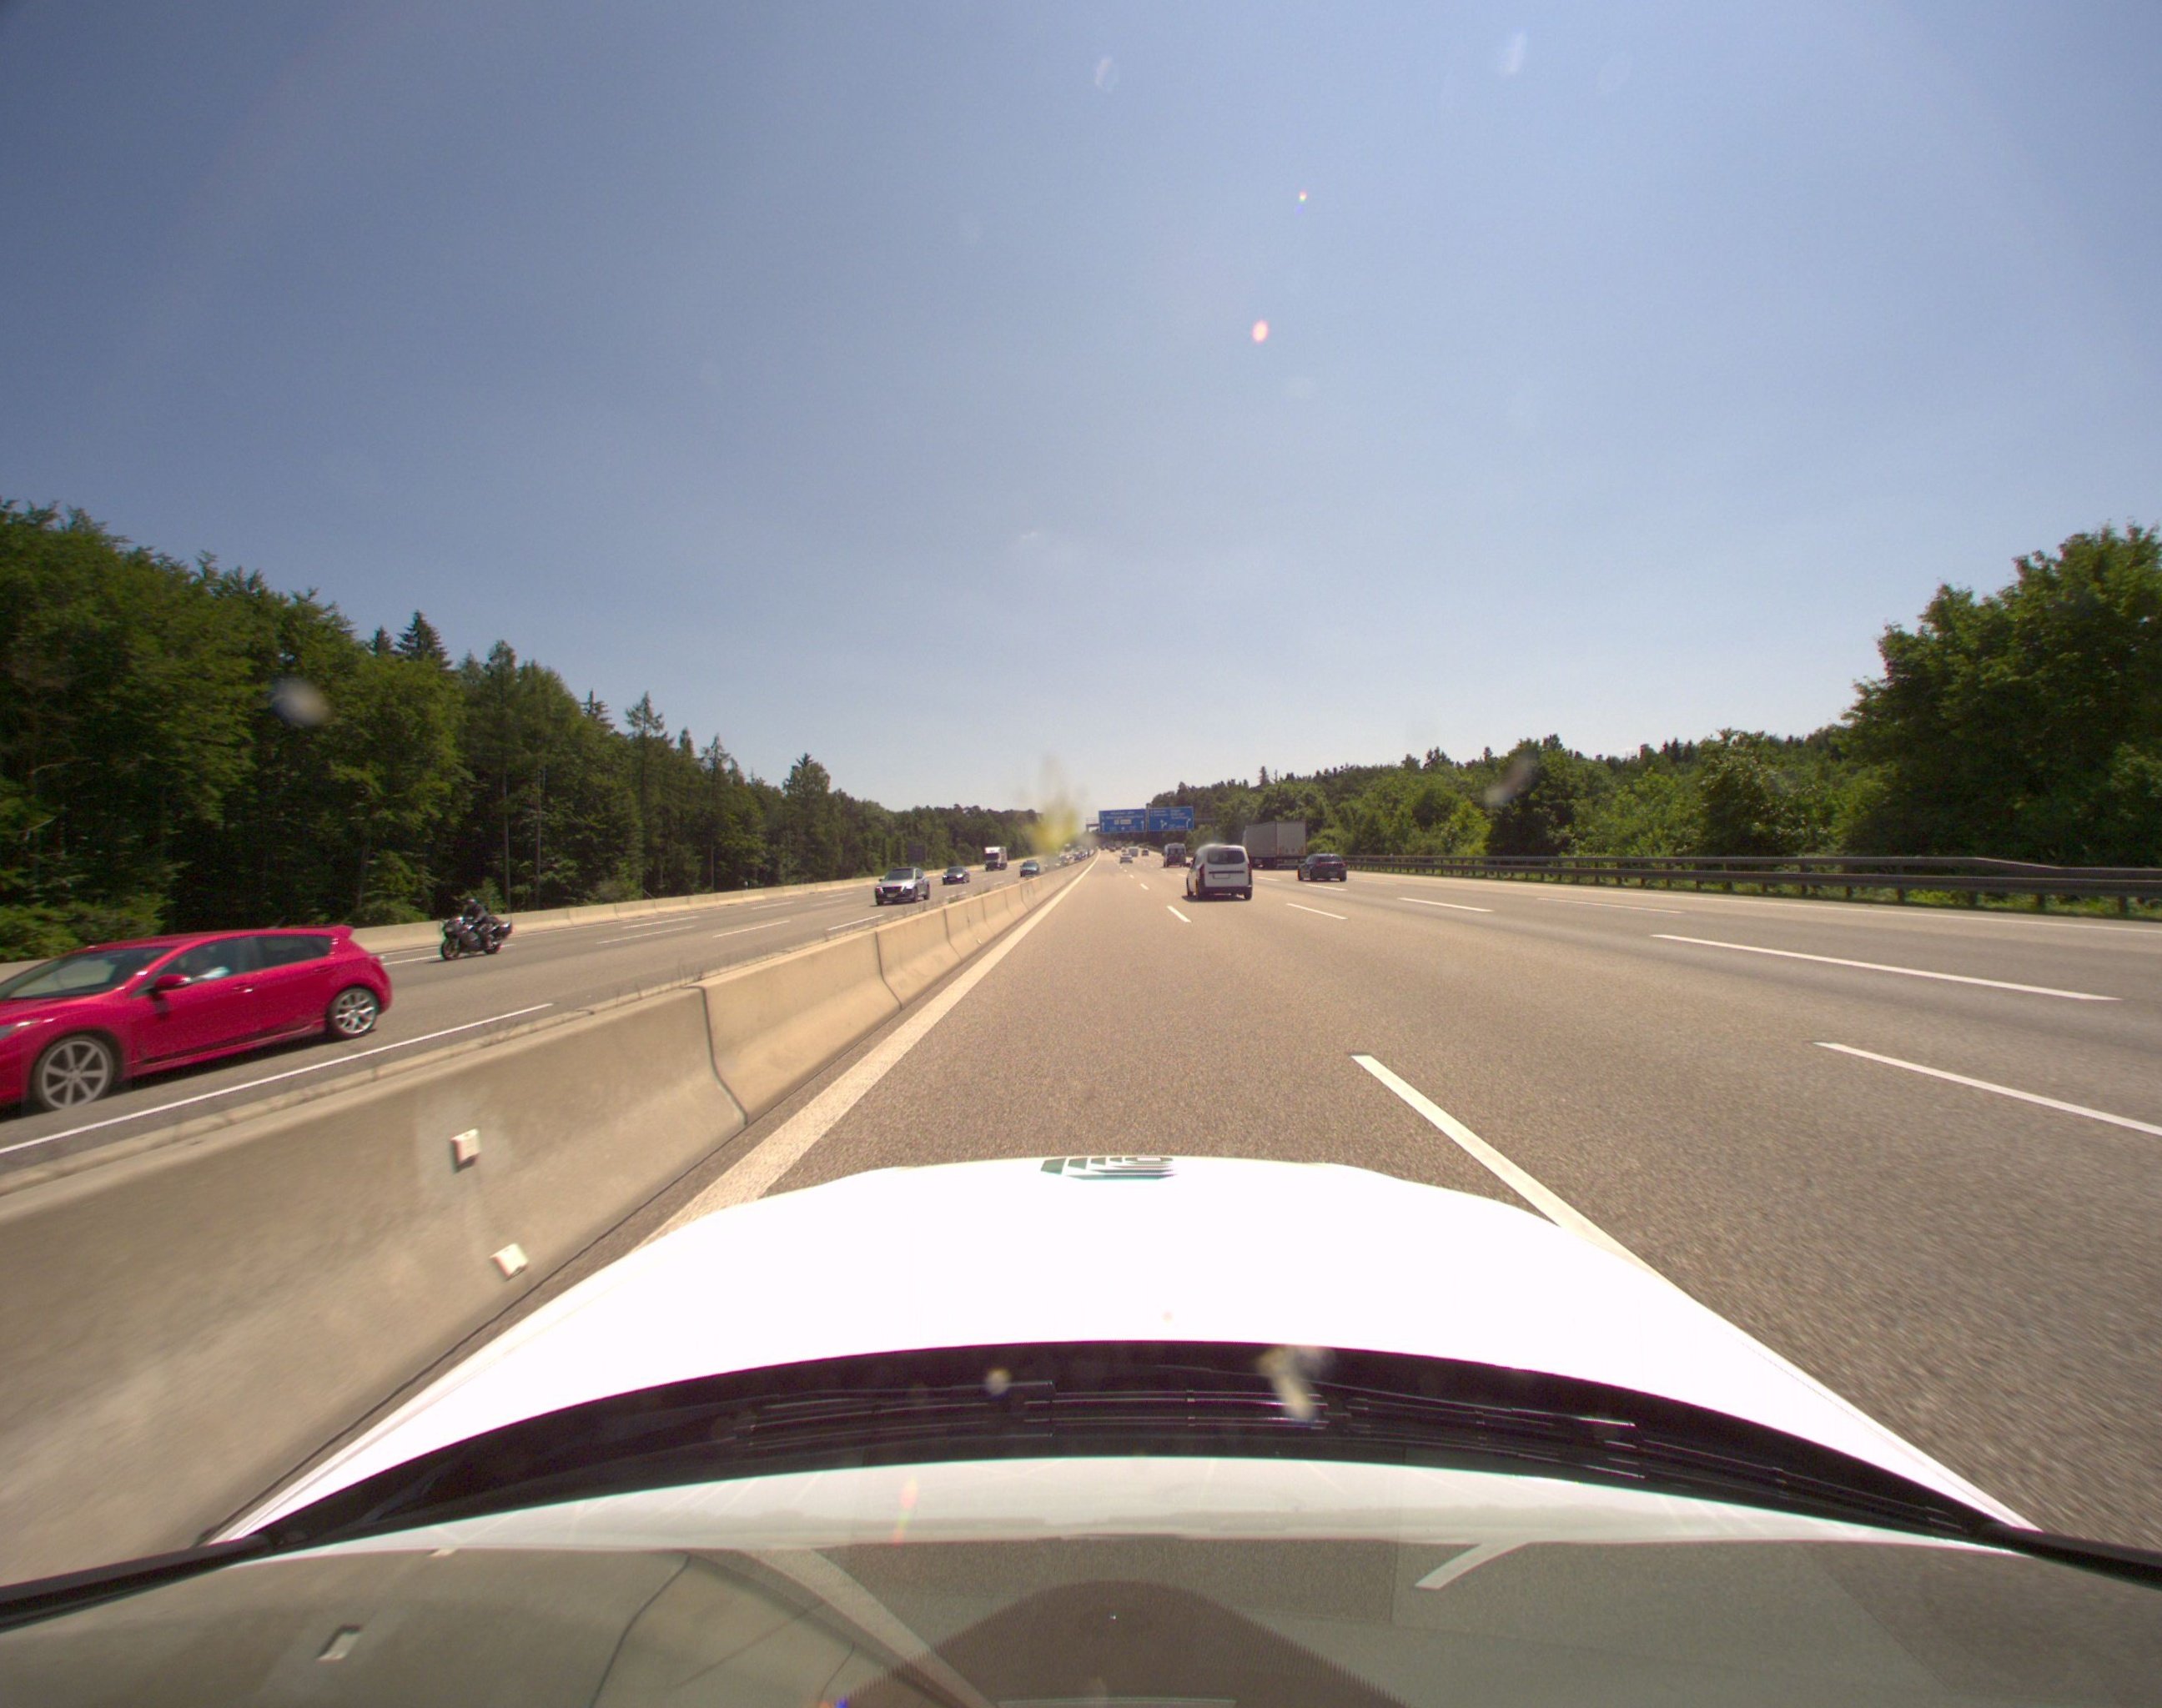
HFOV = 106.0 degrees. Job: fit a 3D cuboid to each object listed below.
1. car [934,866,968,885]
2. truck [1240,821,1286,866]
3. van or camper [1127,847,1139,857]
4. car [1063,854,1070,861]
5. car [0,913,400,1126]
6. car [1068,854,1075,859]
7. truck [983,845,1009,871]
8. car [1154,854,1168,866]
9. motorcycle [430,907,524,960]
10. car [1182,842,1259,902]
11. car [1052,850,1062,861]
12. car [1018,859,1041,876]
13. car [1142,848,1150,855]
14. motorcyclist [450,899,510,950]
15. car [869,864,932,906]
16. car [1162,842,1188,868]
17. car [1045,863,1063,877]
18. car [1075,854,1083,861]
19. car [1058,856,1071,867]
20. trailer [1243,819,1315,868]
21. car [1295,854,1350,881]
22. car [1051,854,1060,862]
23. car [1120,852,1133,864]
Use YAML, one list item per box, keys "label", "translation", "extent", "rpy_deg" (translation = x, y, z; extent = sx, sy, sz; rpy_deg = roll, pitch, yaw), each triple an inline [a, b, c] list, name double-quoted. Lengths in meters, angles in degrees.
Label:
- label: "car"
  translation: [-10.526, 1.746, 66.234]
  extent: [1.915, 1.349, 5.044]
  rpy_deg: [-3, 0, 0]
- label: "truck"
  translation: [17.615, -1.024, 79.360]
  extent: [3.242, 4.106, 5.990]
  rpy_deg: [-1, 0, 1]
- label: "van or camper"
  translation: [13.231, -0.523, 207.705]
  extent: [2.635, 2.539, 6.504]
  rpy_deg: [-3, 0, 2]
- label: "car"
  translation: [-3.786, 0.902, 212.078]
  extent: [1.672, 1.444, 4.527]
  rpy_deg: [-4, 0, 1]
- label: "car"
  translation: [-9.765, 1.569, 8.599]
  extent: [1.566, 1.511, 4.032]
  rpy_deg: [-3, 0, 2]
- label: "car"
  translation: [-2.758, 0.694, 231.886]
  extent: [1.672, 1.444, 3.995]
  rpy_deg: [-4, 0, 1]
- label: "truck"
  translation: [-13.687, 0.617, 132.204]
  extent: [2.709, 3.939, 10.239]
  rpy_deg: [-3, -1, 2]
- label: "car"
  translation: [12.203, 0.877, 124.685]
  extent: [1.811, 1.640, 4.002]
  rpy_deg: [-3, 0, 2]
- label: "motorcycle"
  translation: [-16.606, 2.160, 22.473]
  extent: [0.735, 1.214, 2.350]
  rpy_deg: [-3, -1, 2]
- label: "car"
  translation: [4.718, 0.583, 28.222]
  extent: [1.853, 1.826, 4.613]
  rpy_deg: [-3, 0, 1]
- label: "car"
  translation: [-5.558, 0.319, 190.323]
  extent: [1.923, 2.607, 7.233]
  rpy_deg: [-3, 0, 2]
- label: "car"
  translation: [-4.875, 1.267, 77.933]
  extent: [1.711, 1.512, 4.353]
  rpy_deg: [-3, 0, 2]
- label: "car"
  translation: [17.351, -0.722, 218.720]
  extent: [1.814, 1.859, 4.001]
  rpy_deg: [-3, 0, 1]
- label: "motorcyclist"
  translation: [-16.626, 1.938, 22.553]
  extent: [0.758, 1.301, 1.078]
  rpy_deg: [-3, -1, 1]
- label: "car"
  translation: [-8.571, 1.428, 39.032]
  extent: [1.965, 1.724, 4.506]
  rpy_deg: [-4, 0, -1]
- label: "car"
  translation: [10.105, 0.117, 88.015]
  extent: [2.136, 2.652, 5.712]
  rpy_deg: [-3, 0, 2]
- label: "car"
  translation: [-3.052, 1.776, 91.908]
  extent: [1.746, 1.377, 4.493]
  rpy_deg: [-2, 0, 2]
- label: "car"
  translation: [-0.540, 0.769, 192.160]
  extent: [1.698, 1.662, 3.761]
  rpy_deg: [-3, 0, 2]
- label: "car"
  translation: [-2.519, 1.159, 125.639]
  extent: [1.608, 1.662, 3.851]
  rpy_deg: [-3, 0, 2]
- label: "trailer"
  translation: [17.462, -0.895, 72.952]
  extent: [3.276, 3.930, 13.893]
  rpy_deg: [-1, 0, 1]
- label: "car"
  translation: [12.404, 0.675, 42.045]
  extent: [1.664, 1.273, 4.292]
  rpy_deg: [-1, 0, 2]
- label: "car"
  translation: [-5.299, 0.852, 170.506]
  extent: [1.698, 1.565, 3.761]
  rpy_deg: [-3, 0, 2]
- label: "car"
  translation: [6.920, 0.582, 124.556]
  extent: [1.836, 1.629, 4.554]
  rpy_deg: [-3, -1, 1]
